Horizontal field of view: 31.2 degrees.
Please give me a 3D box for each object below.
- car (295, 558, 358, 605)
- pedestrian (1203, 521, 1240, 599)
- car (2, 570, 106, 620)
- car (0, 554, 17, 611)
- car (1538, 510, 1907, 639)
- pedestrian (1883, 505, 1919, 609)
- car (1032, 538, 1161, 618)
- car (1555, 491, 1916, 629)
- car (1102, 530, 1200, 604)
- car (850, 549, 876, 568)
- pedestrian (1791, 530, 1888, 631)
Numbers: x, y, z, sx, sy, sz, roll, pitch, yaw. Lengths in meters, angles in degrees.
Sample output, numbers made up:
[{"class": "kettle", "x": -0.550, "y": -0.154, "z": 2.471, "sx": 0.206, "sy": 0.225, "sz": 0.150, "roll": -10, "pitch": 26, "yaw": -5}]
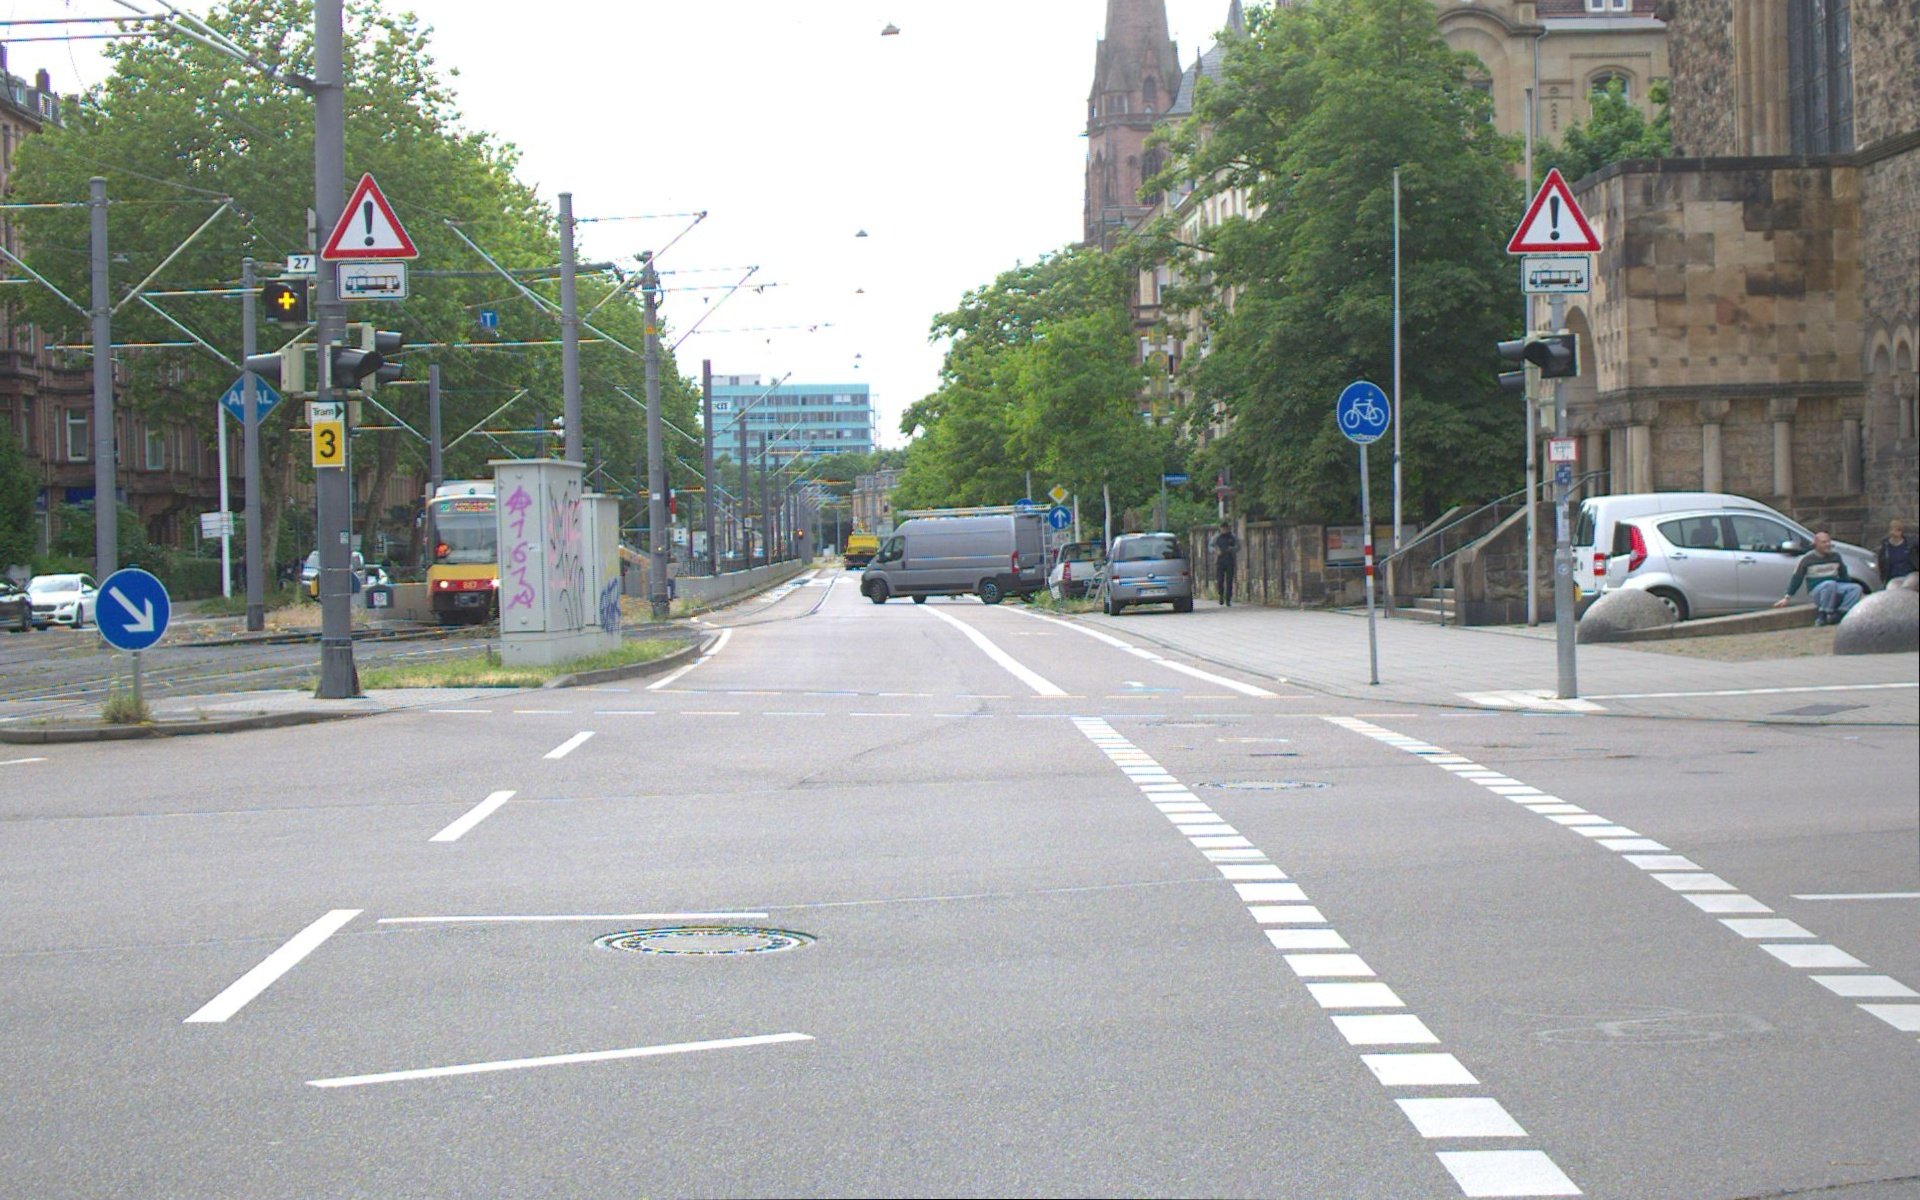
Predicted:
[{"class": "car", "x": -23.608, "y": -0.700, "z": 128.203, "sx": 1.702, "sy": 1.706, "sz": 3.891, "roll": 0, "pitch": 1, "yaw": -1}, {"class": "pedestrian", "x": 5.505, "y": -0.846, "z": 72.431, "sx": 0.776, "sy": 1.641, "sz": 0.798, "roll": 0, "pitch": 1, "yaw": 5}, {"class": "car", "x": -23.262, "y": -0.146, "z": 88.411, "sx": 1.702, "sy": 1.217, "sz": 3.891, "roll": 0, "pitch": 1, "yaw": -1}, {"class": "car", "x": -23.477, "y": -0.401, "z": 80.643, "sx": 1.702, "sy": 1.354, "sz": 3.891, "roll": 0, "pitch": 1, "yaw": -1}, {"class": "car", "x": 9.774, "y": -0.336, "z": 44.270, "sx": 4.348, "sy": 1.630, "sz": 1.663, "roll": 0, "pitch": 1, "yaw": -2}, {"class": "pedestrian", "x": 11.416, "y": -0.520, "z": 41.020, "sx": 0.737, "sy": 1.224, "sz": 1.062, "roll": 0, "pitch": 1, "yaw": 13}, {"class": "car", "x": 3.123, "y": -0.538, "z": 79.628, "sx": 2.201, "sy": 1.739, "sz": 5.035, "roll": -2, "pitch": 1, "yaw": -7}, {"class": "car", "x": 10.718, "y": -0.565, "z": 47.688, "sx": 4.610, "sy": 1.875, "sz": 1.663, "roll": 0, "pitch": 1, "yaw": -2}, {"class": "car", "x": 3.827, "y": -0.687, "z": 69.461, "sx": 1.702, "sy": 1.454, "sz": 3.891, "roll": 0, "pitch": 1, "yaw": -1}, {"class": "car", "x": -7.236, "y": -3.087, "z": 256.711, "sx": 1.804, "sy": 1.336, "sz": 4.001, "roll": -1, "pitch": 1, "yaw": -3}, {"class": "pedestrian", "x": 10.434, "y": -0.241, "z": 40.840, "sx": 0.736, "sy": 1.187, "sz": 1.493, "roll": 0, "pitch": 1, "yaw": -1}]
